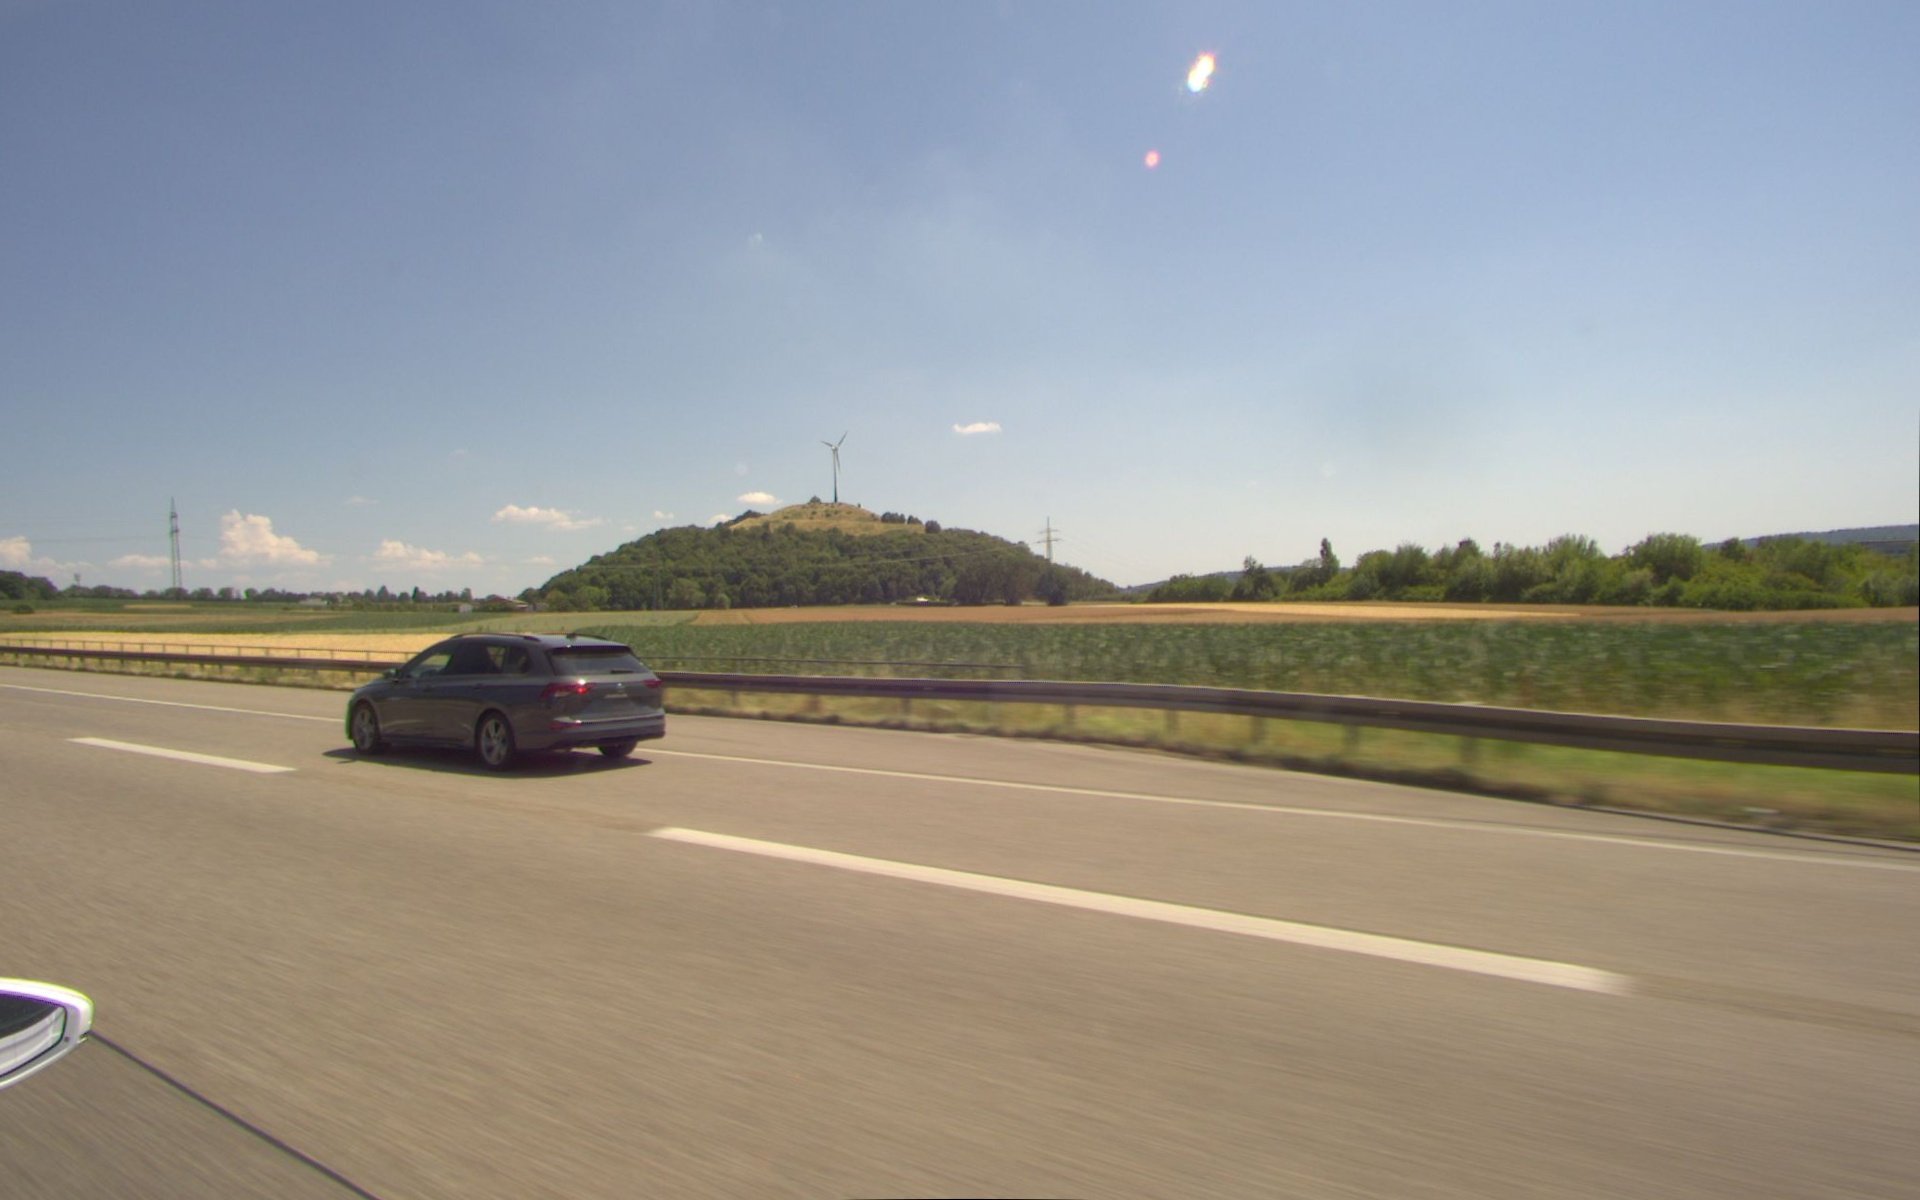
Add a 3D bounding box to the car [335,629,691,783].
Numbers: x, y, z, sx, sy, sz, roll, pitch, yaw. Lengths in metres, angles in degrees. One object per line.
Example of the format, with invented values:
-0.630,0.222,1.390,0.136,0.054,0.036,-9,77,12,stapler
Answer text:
-5.409,1.113,11.933,4.473,1.490,1.757,0,-1,34,car
